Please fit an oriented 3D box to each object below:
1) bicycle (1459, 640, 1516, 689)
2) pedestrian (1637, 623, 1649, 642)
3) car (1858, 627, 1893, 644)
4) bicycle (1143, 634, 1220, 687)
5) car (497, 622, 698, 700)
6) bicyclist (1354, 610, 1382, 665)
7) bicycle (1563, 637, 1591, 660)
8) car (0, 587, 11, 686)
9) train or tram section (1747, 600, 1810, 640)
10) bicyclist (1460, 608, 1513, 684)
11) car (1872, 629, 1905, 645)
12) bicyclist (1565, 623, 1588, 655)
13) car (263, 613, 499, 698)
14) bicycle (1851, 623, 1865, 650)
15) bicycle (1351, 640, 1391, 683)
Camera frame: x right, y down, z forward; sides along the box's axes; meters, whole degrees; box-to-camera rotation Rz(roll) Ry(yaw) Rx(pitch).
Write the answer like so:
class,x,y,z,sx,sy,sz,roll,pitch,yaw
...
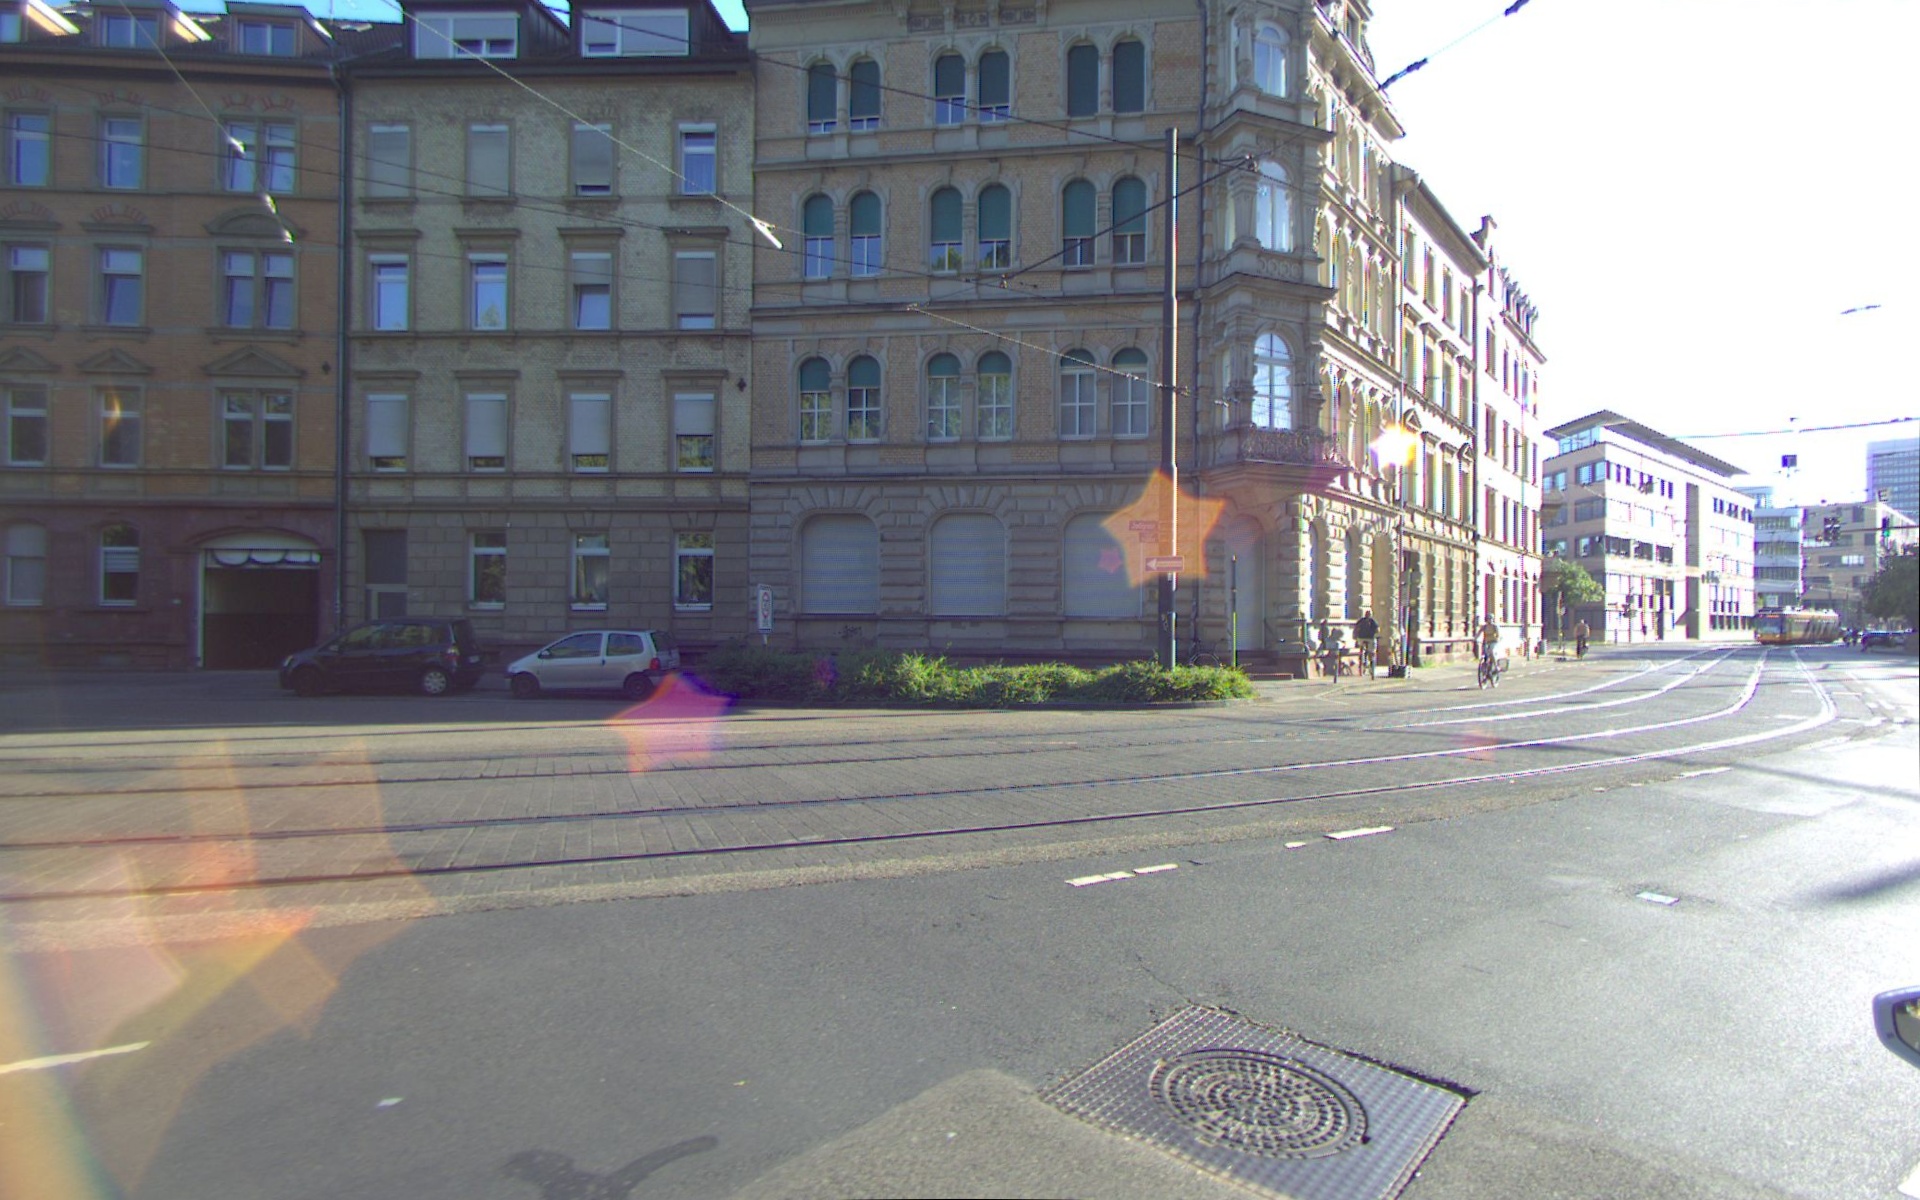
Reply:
class,x,y,z,sx,sy,sz,roll,pitch,yaw
bicycle,13.678,1.643,26.011,0.871,1.171,2.314,-1,-2,39
pedestrian,67.886,3.244,99.850,0.730,1.866,0.799,1,-2,-40
car,81.798,3.207,89.745,3.971,1.483,1.975,2,-2,-42
bicycle,5.292,1.441,24.035,1.756,1.222,0.503,0,1,5
car,-7.404,1.221,20.743,3.425,1.448,1.857,-1,1,2
bicyclist,11.368,1.043,27.979,0.584,1.510,0.700,-1,-2,37
bicycle,30.376,2.366,49.441,0.935,1.112,1.990,-1,-2,39
car,-22.729,0.810,20.359,4.906,2.091,1.856,-1,1,-6
train or tram section,78.029,1.966,95.590,14.164,3.621,2.222,2,-2,-41
bicyclist,13.643,1.182,26.040,1.017,1.915,1.108,-1,-2,39
car,89.196,3.541,96.470,3.971,1.505,1.975,2,-2,-42
bicyclist,30.365,1.921,49.459,0.833,1.534,0.798,-1,-2,39
car,-11.975,1.108,20.999,3.798,1.584,1.855,-1,1,-6
bicycle,61.563,2.518,68.835,0.558,1.830,1.354,-1,-2,36
bicycle,11.473,1.684,28.000,0.495,1.147,2.118,-1,-2,37
